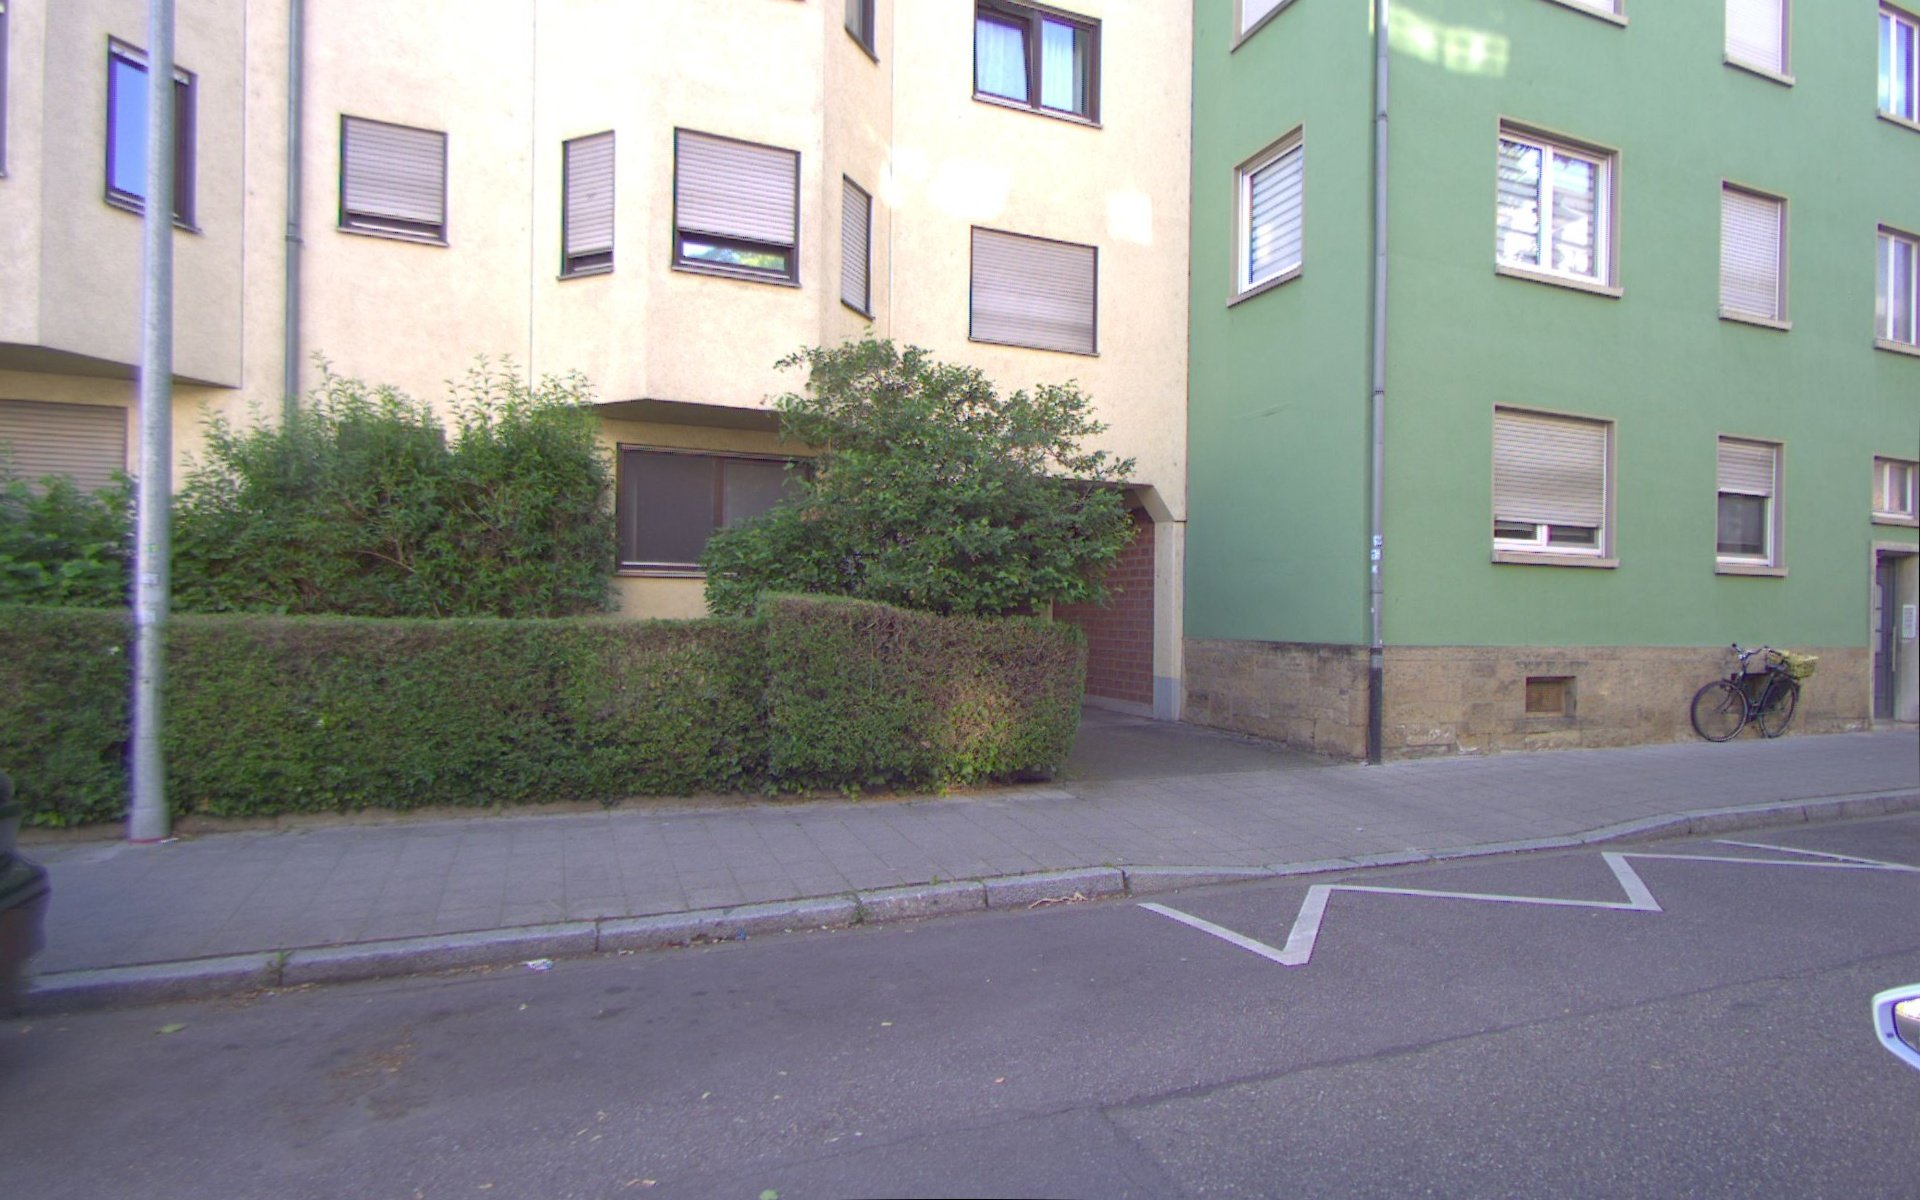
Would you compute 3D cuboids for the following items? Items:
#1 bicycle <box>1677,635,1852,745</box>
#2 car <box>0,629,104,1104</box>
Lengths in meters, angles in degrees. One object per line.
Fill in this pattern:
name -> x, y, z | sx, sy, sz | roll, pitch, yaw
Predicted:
bicycle -> 9.616, 1.039, 11.987 | 2.245, 1.194, 0.549 | 1, 3, -22
car -> -4.866, 0.803, 2.259 | 4.077, 1.516, 1.748 | 1, -3, -24
